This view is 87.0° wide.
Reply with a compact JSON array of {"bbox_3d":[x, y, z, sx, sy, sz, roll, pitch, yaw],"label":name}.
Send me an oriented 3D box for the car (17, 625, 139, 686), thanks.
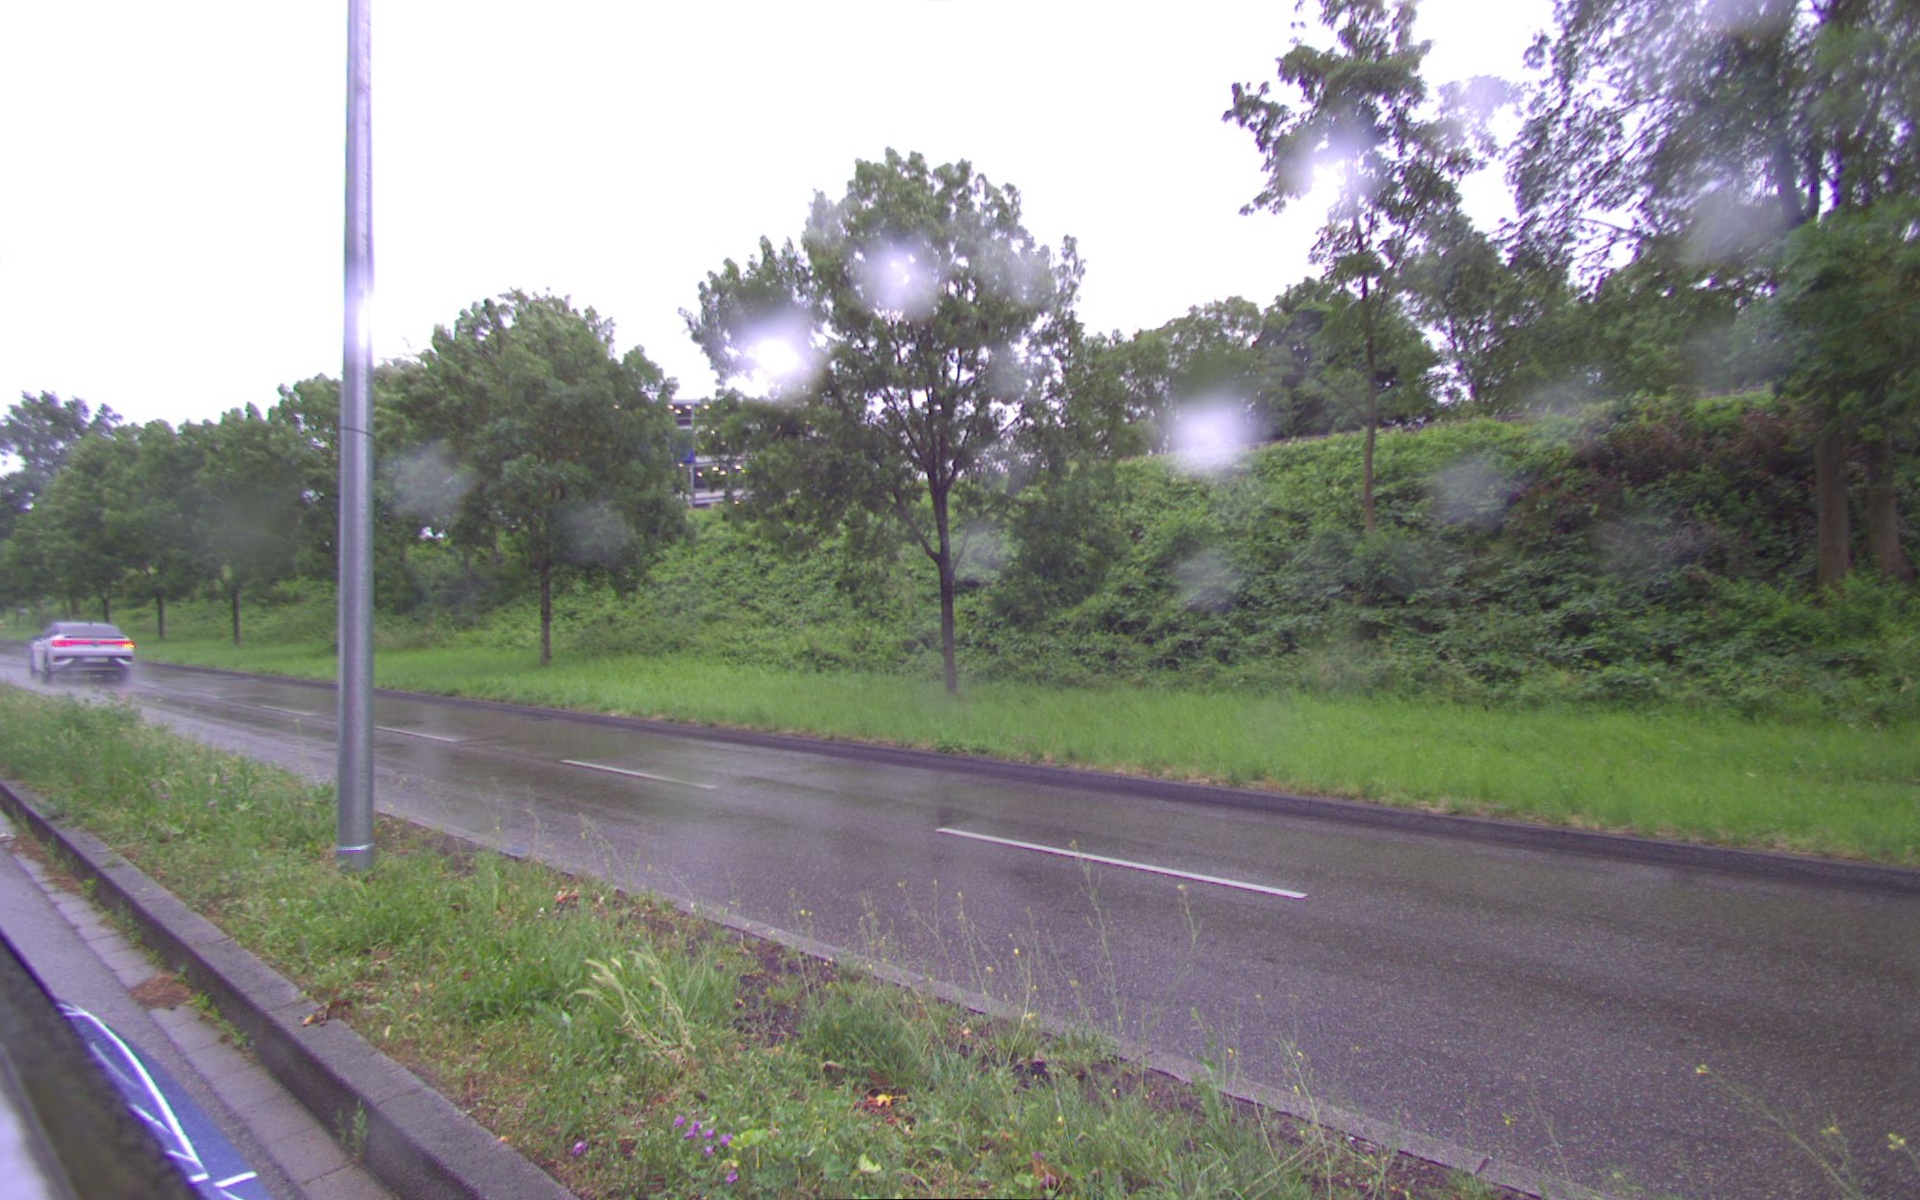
[{"bbox_3d":[-24.162,1.486,27.672,4.299,1.531,1.867,-2,-4,41],"label":"car"}]
